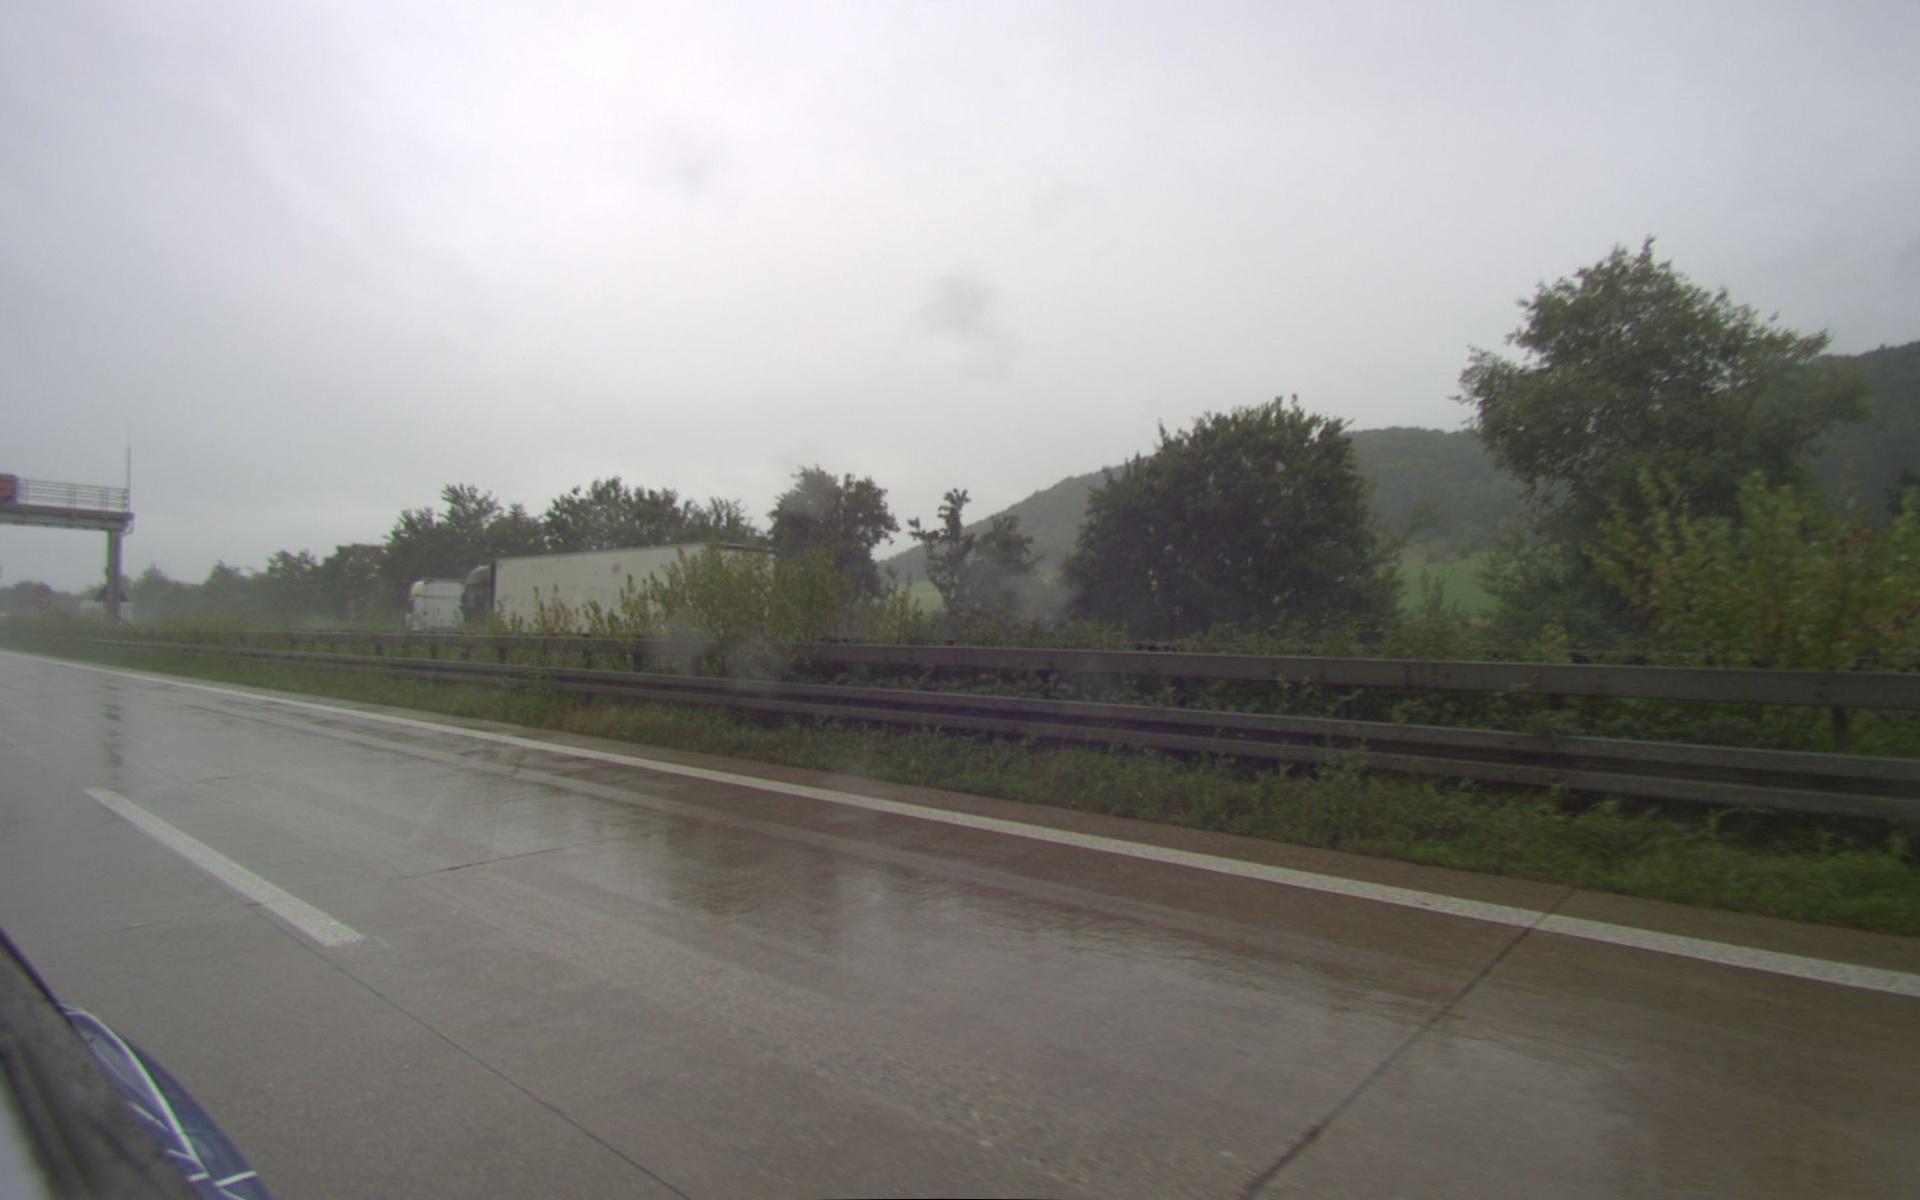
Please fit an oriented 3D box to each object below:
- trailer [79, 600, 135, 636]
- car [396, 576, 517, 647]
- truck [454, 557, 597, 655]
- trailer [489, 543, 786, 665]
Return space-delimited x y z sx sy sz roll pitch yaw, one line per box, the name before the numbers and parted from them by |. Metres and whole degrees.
trailer | -92.541 2.019 109.673 12.281 3.702 2.933 -1 -1 42
car | -25.005 0.604 50.068 7.598 3.268 2.769 -1 -1 42
truck | -16.943 0.289 39.362 5.724 3.536 2.787 -1 -1 39
trailer | -11.622 0.176 34.974 13.695 3.569 2.824 -1 0 40
